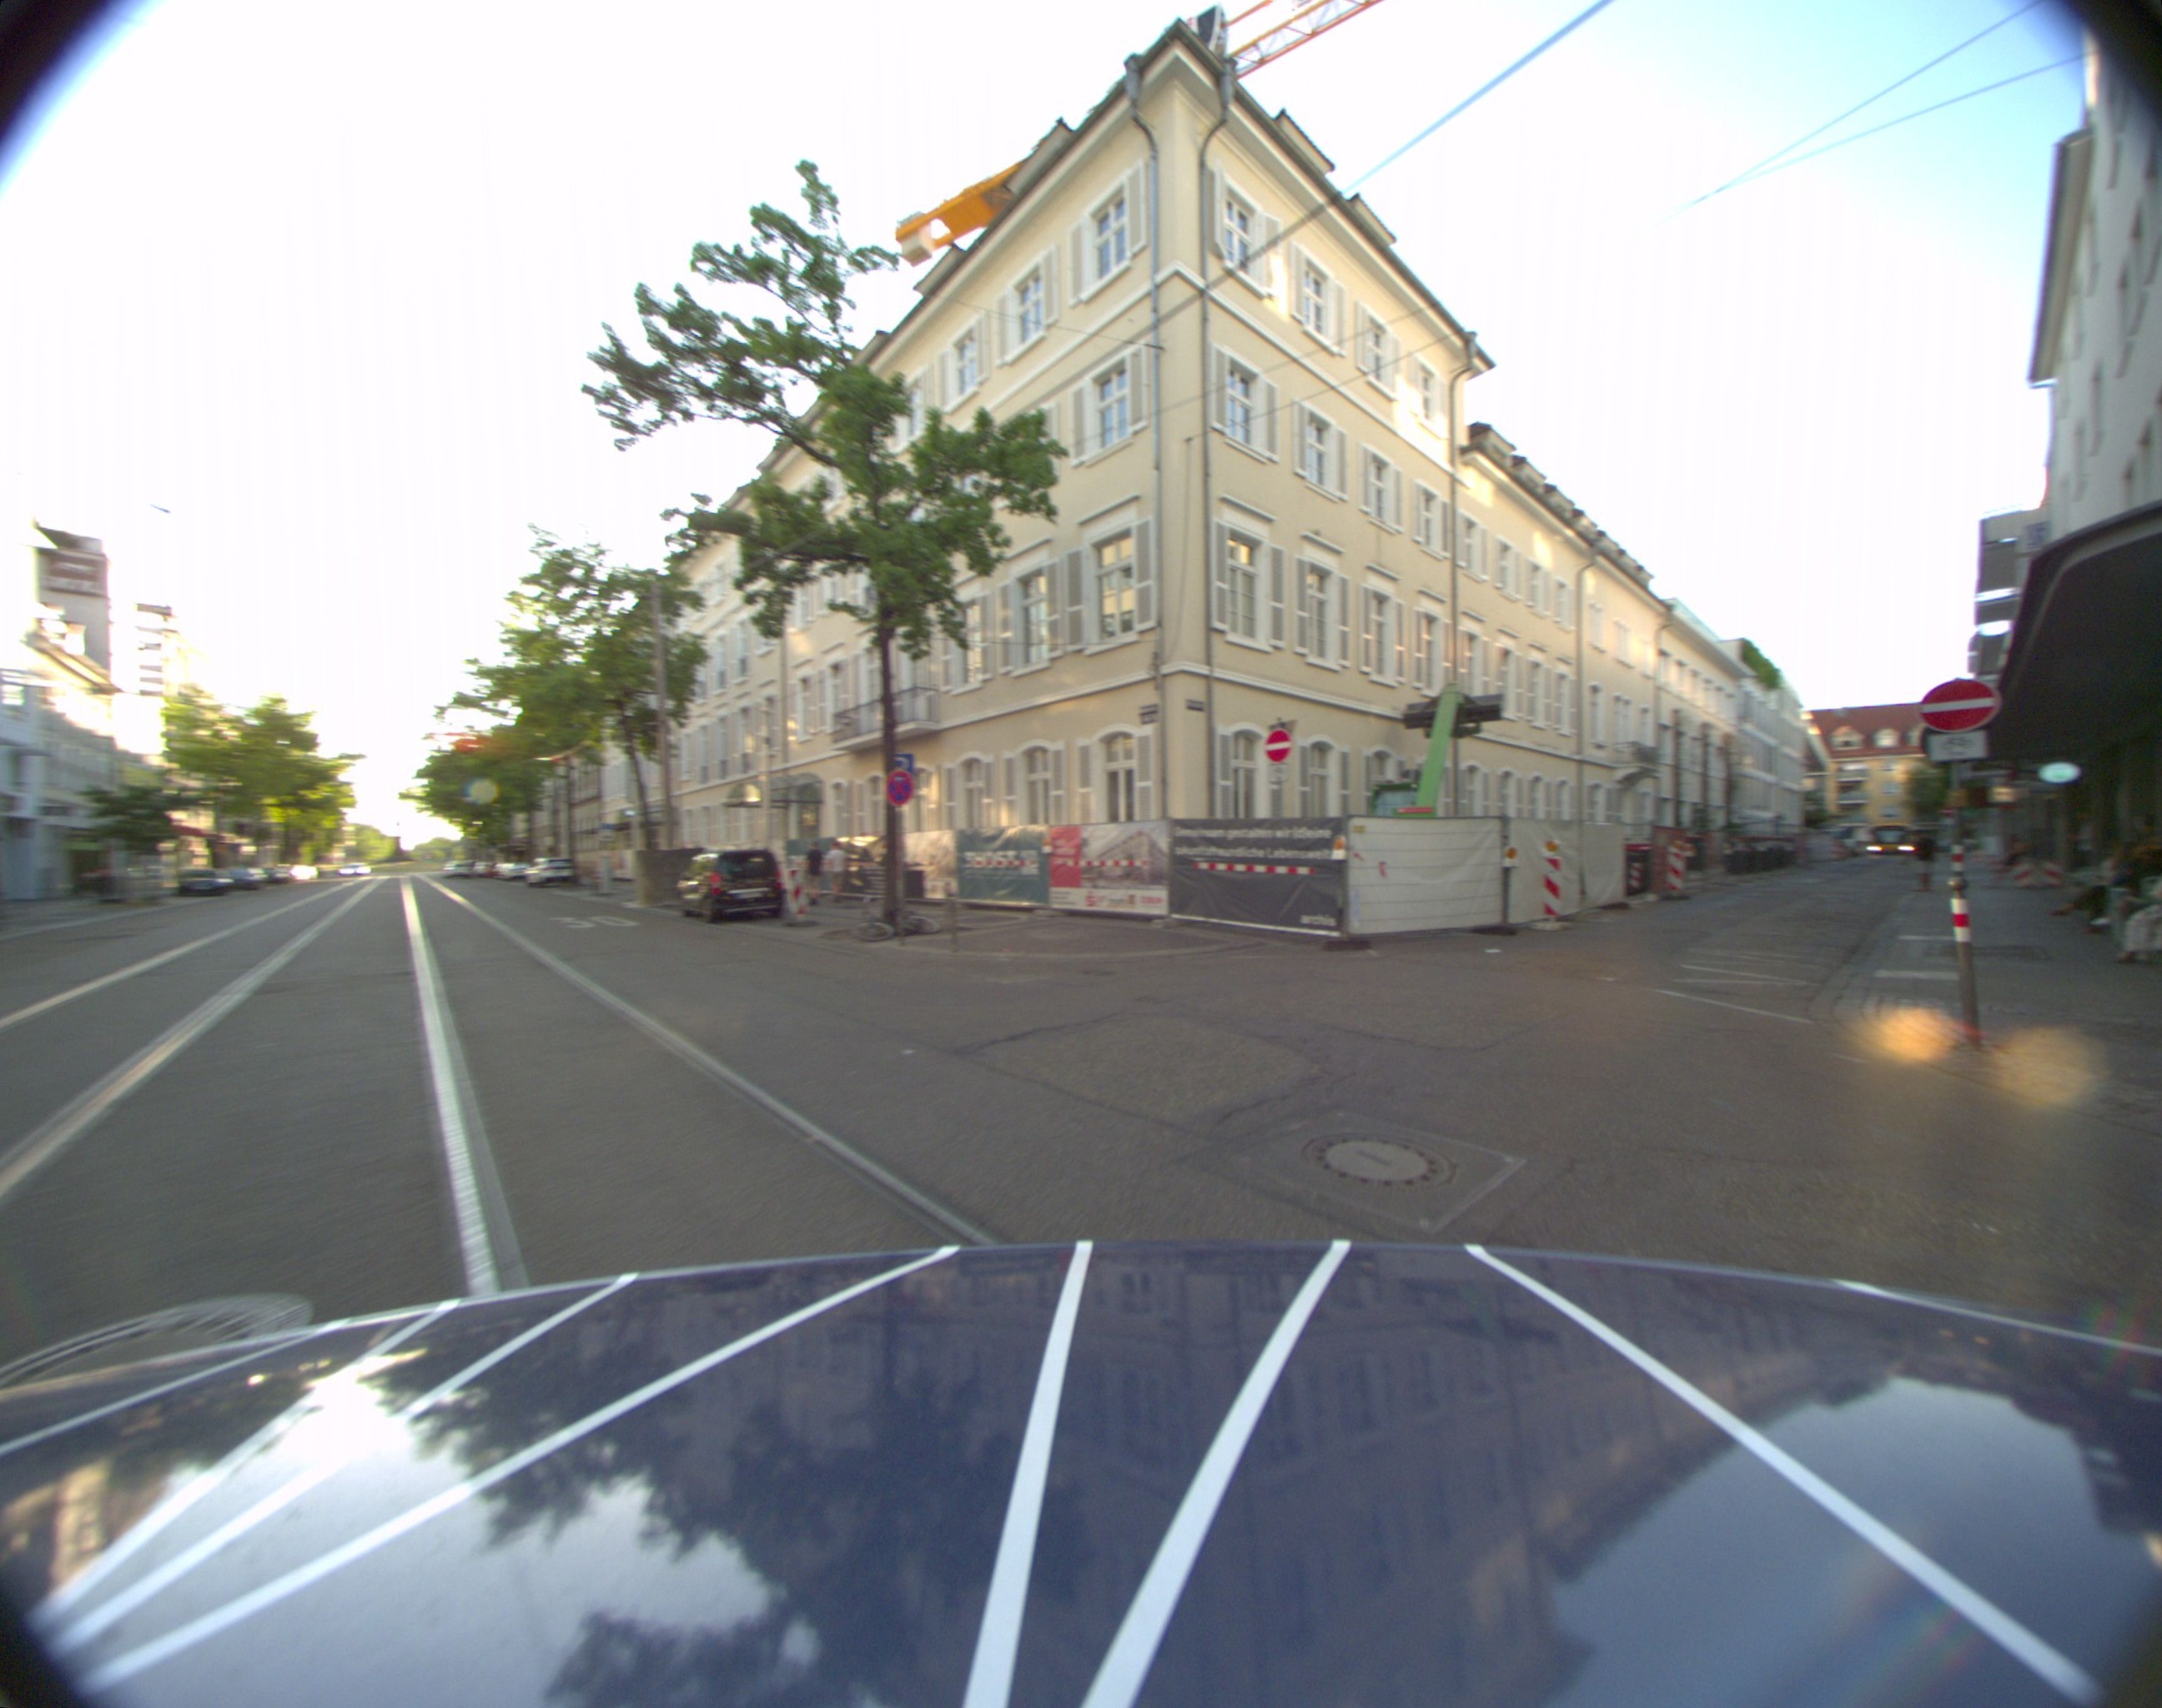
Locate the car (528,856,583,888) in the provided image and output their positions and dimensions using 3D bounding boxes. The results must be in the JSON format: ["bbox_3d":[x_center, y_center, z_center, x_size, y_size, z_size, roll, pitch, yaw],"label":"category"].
[{"bbox_3d":[-30.383,0.995,43.881,2.004,1.728,4.093,-2,2,-42],"label":"car"}]

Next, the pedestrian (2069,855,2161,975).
[{"bbox_3d":[11.421,0.623,8.119,0.841,1.212,0.706,-2,1,-5],"label":"pedestrian"}]

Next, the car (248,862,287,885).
[{"bbox_3d":[-65.408,1.536,61.128,1.907,1.683,4.093,-3,2,-45],"label":"car"}]

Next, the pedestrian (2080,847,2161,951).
[{"bbox_3d":[13.112,0.550,9.476,0.779,1.232,0.705,-2,-2,-39],"label":"pedestrian"}]

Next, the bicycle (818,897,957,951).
[{"bbox_3d":[-3.559,1.253,14.073,1.327,0.702,2.081,0,2,42],"label":"bicycle"}]

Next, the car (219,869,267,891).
[{"bbox_3d":[-53.537,1.622,48.607,1.743,1.311,4.093,0,0,-43],"label":"car"}]

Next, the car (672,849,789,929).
[{"bbox_3d":[-9.202,0.820,19.789,1.776,1.755,3.867,-5,3,-38],"label":"car"}]

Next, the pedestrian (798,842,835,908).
[{"bbox_3d":[-7.722,0.593,22.203,0.681,1.874,0.767,-5,4,-41],"label":"pedestrian"}]

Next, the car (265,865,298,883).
[{"bbox_3d":[-68.772,1.684,65.405,1.690,1.472,3.835,-3,2,-43],"label":"car"}]

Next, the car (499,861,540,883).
[{"bbox_3d":[-42.465,1.307,57.420,2.004,1.495,4.093,-2,1,-42],"label":"car"}]

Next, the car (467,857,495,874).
[{"bbox_3d":[-60.493,1.142,76.616,2.004,1.540,4.093,-2,1,-40],"label":"car"}]

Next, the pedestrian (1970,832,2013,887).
[{"bbox_3d":[26.365,0.161,22.018,0.614,1.569,0.709,-2,0,-45],"label":"pedestrian"}]

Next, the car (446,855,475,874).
[{"bbox_3d":[-58.812,0.997,72.027,2.004,1.728,4.093,-2,1,-40],"label":"car"}]

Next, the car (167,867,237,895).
[{"bbox_3d":[-47.496,1.416,41.145,2.008,1.354,4.093,0,0,-42],"label":"car"}]

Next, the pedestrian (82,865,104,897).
[{"bbox_3d":[-48.312,1.300,37.140,0.479,1.539,0.746,-2,2,-42],"label":"pedestrian"}]

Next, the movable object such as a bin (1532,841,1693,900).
[{"bbox_3d":[17.661,0.422,25.026,7.308,1.655,2.891,-1,1,-43],"label":"movable object such as a bin"}]

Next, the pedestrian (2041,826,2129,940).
[{"bbox_3d":[14.268,0.390,10.796,0.862,1.538,0.704,-2,1,-34],"label":"pedestrian"}]

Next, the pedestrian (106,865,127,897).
[{"bbox_3d":[-48.014,1.326,37.836,0.479,1.547,0.746,-2,2,-42],"label":"pedestrian"}]

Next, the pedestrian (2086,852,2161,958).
[{"bbox_3d":[12.448,0.587,8.920,0.692,1.188,0.704,-2,-2,-39],"label":"pedestrian"}]

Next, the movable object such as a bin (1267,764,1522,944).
[{"bbox_3d":[6.329,-0.050,14.952,5.576,2.856,2.636,-1,2,-44],"label":"movable object such as a bin"}]

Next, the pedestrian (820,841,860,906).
[{"bbox_3d":[-7.250,0.562,22.832,0.761,1.874,0.877,-5,4,-41],"label":"pedestrian"}]

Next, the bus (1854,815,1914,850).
[{"bbox_3d":[83.006,-2.276,78.461,12.557,3.307,3.913,-3,3,-42],"label":"bus"}]

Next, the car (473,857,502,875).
[{"bbox_3d":[-56.429,1.110,72.231,2.004,1.567,4.093,-2,1,-40],"label":"car"}]

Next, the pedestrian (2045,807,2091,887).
[{"bbox_3d":[22.570,-0.167,17.383,0.614,1.800,0.544,-2,2,-42],"label":"pedestrian"}]

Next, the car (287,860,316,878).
[{"bbox_3d":[-79.169,1.496,77.203,1.743,1.728,4.093,-3,2,-42],"label":"car"}]

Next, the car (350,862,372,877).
[{"bbox_3d":[-88.253,1.881,93.149,1.743,1.728,4.093,-3,2,-42],"label":"car"}]

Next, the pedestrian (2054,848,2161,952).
[{"bbox_3d":[13.450,0.572,9.843,0.704,1.278,0.862,-1,1,24],"label":"pedestrian"}]

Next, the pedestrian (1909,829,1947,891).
[{"bbox_3d":[24.457,0.166,21.947,0.934,1.771,0.704,-2,1,-42],"label":"pedestrian"}]
